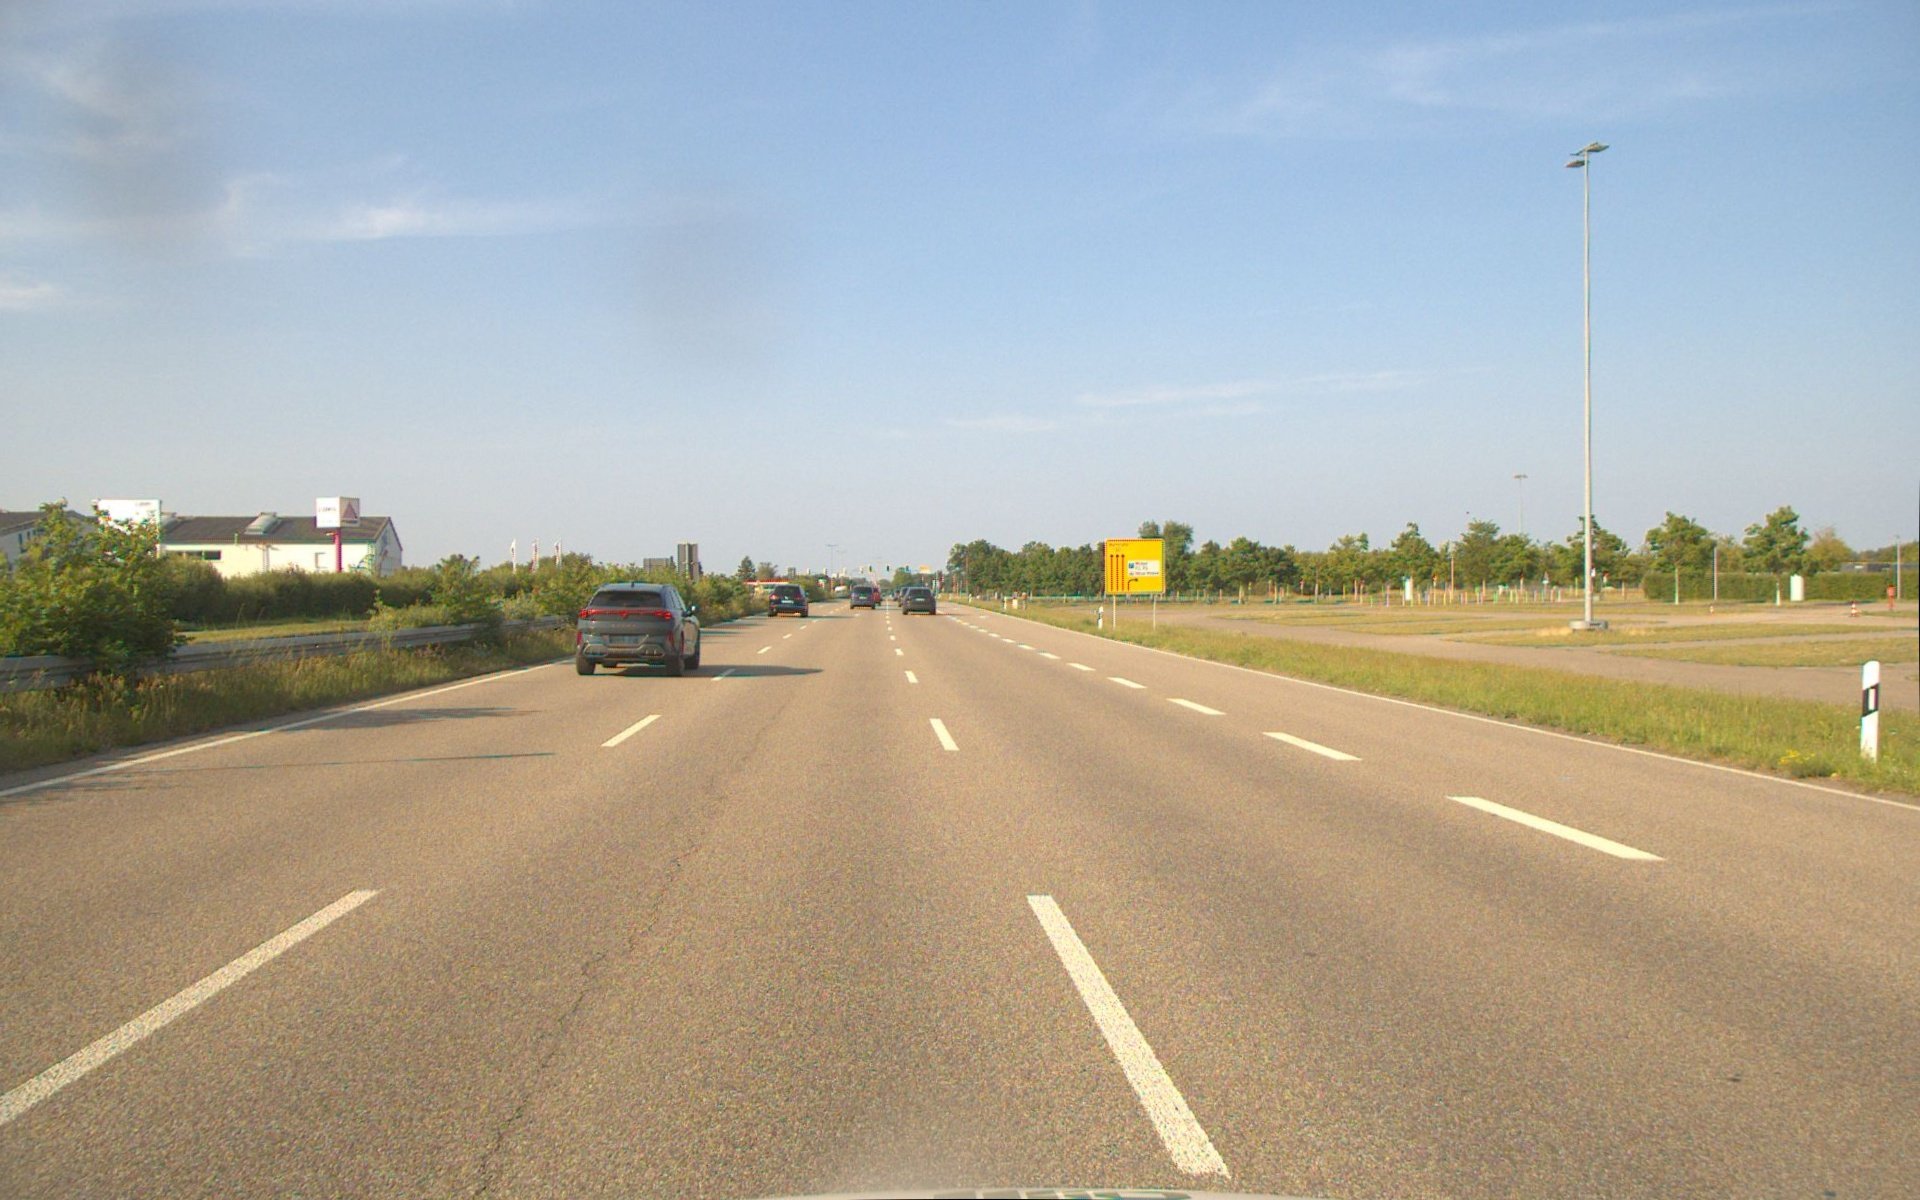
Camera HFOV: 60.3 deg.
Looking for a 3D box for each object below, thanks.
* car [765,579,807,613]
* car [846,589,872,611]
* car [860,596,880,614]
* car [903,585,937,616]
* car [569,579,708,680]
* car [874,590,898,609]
[{"bbox_3d":[-9.041,-0.216,86.251,1.894,1.709,4.398,2,0,-3],"label":"car"},{"bbox_3d":[-7.203,0.001,118.196,1.776,1.488,4.398,2,0,-3],"label":"car"},{"bbox_3d":[-7.793,0.457,143.513,1.614,1.488,3.978,2,0,-3],"label":"car"},{"bbox_3d":[-2.433,0.022,99.078,1.894,1.709,4.398,2,0,-3],"label":"car"},{"bbox_3d":[-5.742,0.485,30.033,1.809,1.640,4.398,2,0,-3],"label":"car"},{"bbox_3d":[-6.041,-0.041,134.717,1.836,1.488,3.978,2,0,-3],"label":"car"}]
